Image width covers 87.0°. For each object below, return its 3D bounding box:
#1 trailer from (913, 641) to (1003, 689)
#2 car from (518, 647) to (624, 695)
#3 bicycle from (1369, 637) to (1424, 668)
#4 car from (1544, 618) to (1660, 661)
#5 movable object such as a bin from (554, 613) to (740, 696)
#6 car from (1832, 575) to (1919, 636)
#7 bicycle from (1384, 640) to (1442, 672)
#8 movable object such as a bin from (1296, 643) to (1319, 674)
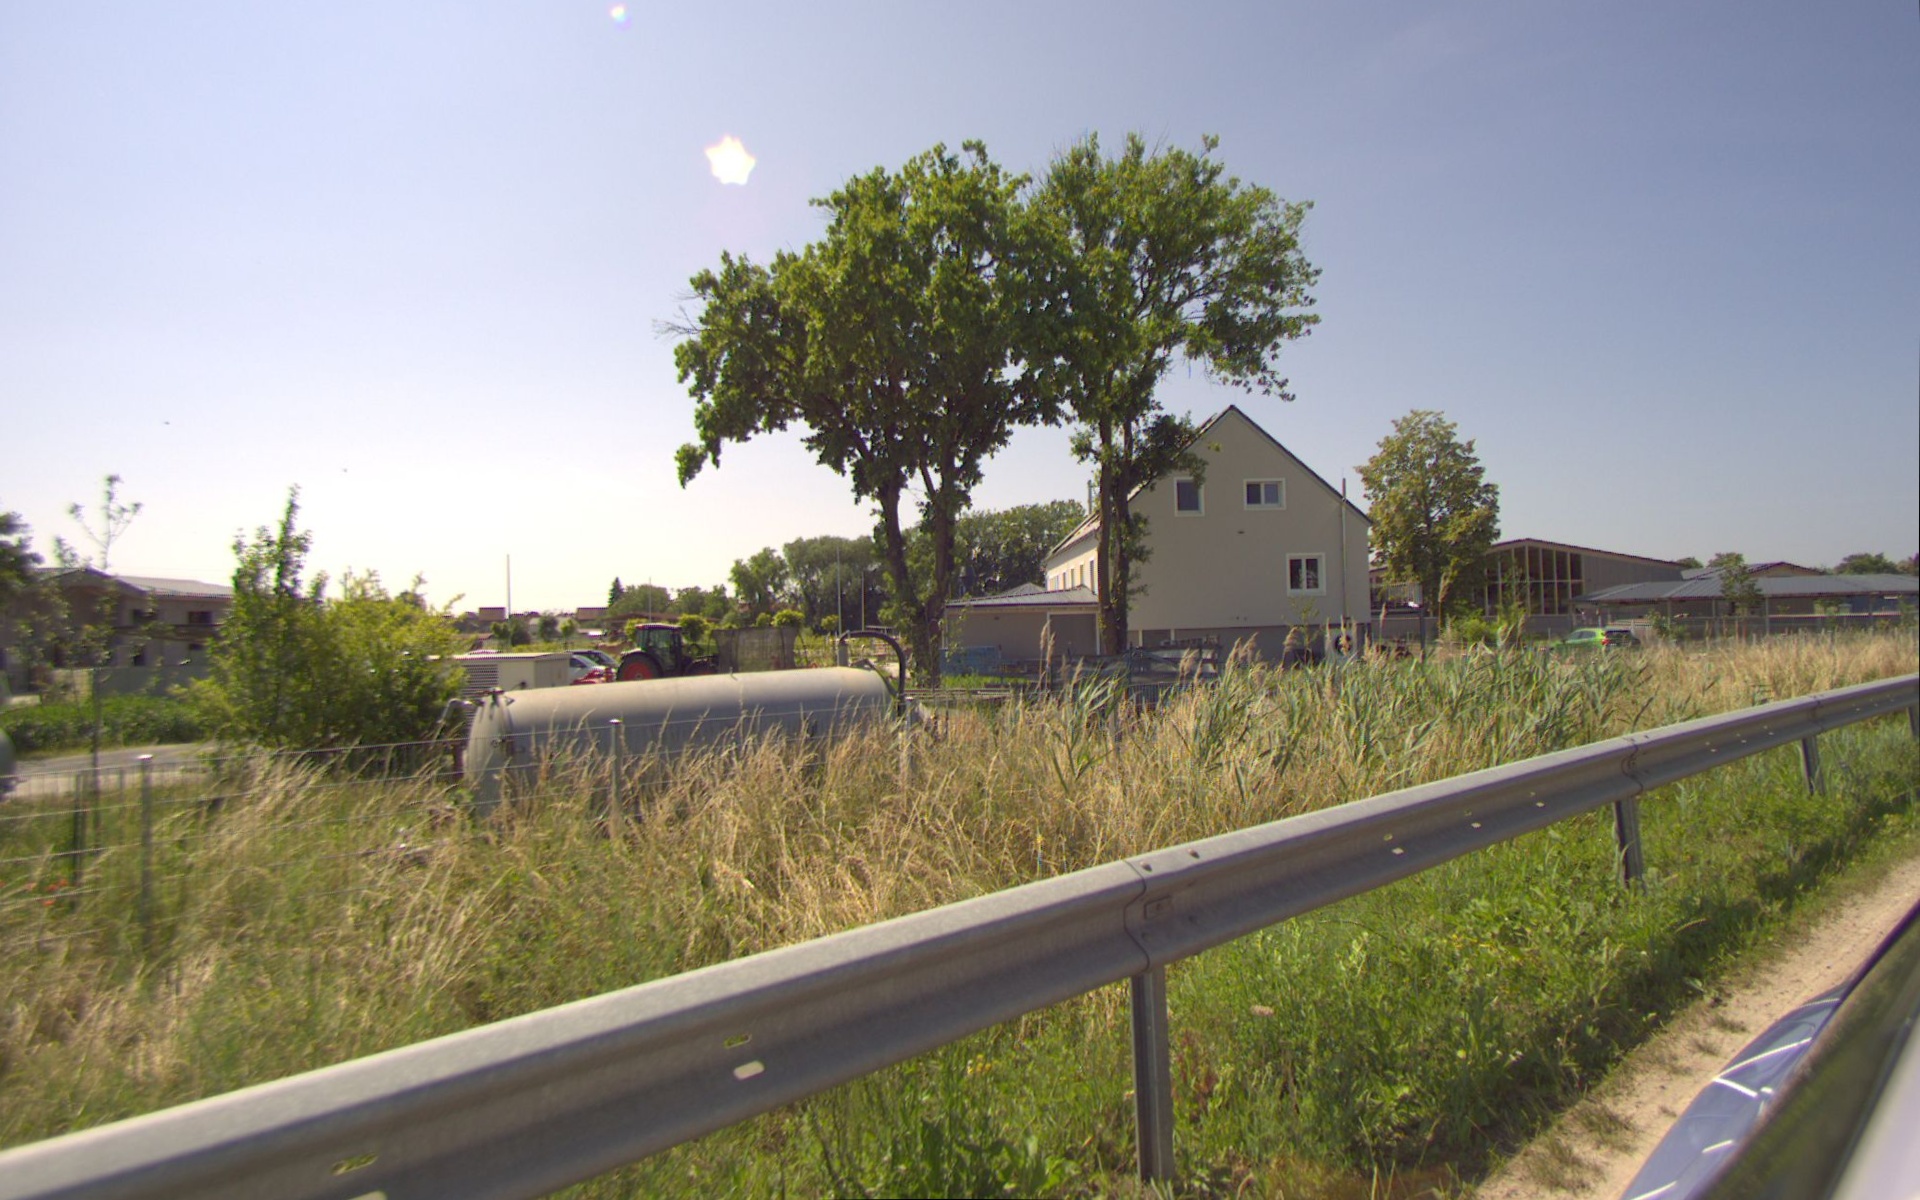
[{"bbox_3d":[-0.056,2.401,37.590,3.087,1.516,1.712,-4,-2,7],"label":"trailer"},{"bbox_3d":[-16.987,3.087,44.324,3.802,1.594,2.001,-6,0,-3],"label":"car"},{"bbox_3d":[18.120,2.163,42.046,1.933,1.207,0.714,-2,-3,0],"label":"bicycle"},{"bbox_3d":[26.616,1.662,42.155,1.897,1.601,4.371,-4,-3,0],"label":"car"},{"bbox_3d":[-11.563,2.012,37.883,6.369,2.806,3.016,-1,-3,-13],"label":"movable object such as a bin"},{"bbox_3d":[59.022,0.331,62.071,2.725,3.700,8.997,-2,-2,-3],"label":"car"},{"bbox_3d":[18.420,2.270,41.137,1.934,1.207,0.714,-3,-3,3],"label":"bicycle"},{"bbox_3d":[13.314,2.231,38.798,0.649,1.165,0.578,-2,-2,2],"label":"movable object such as a bin"}]
